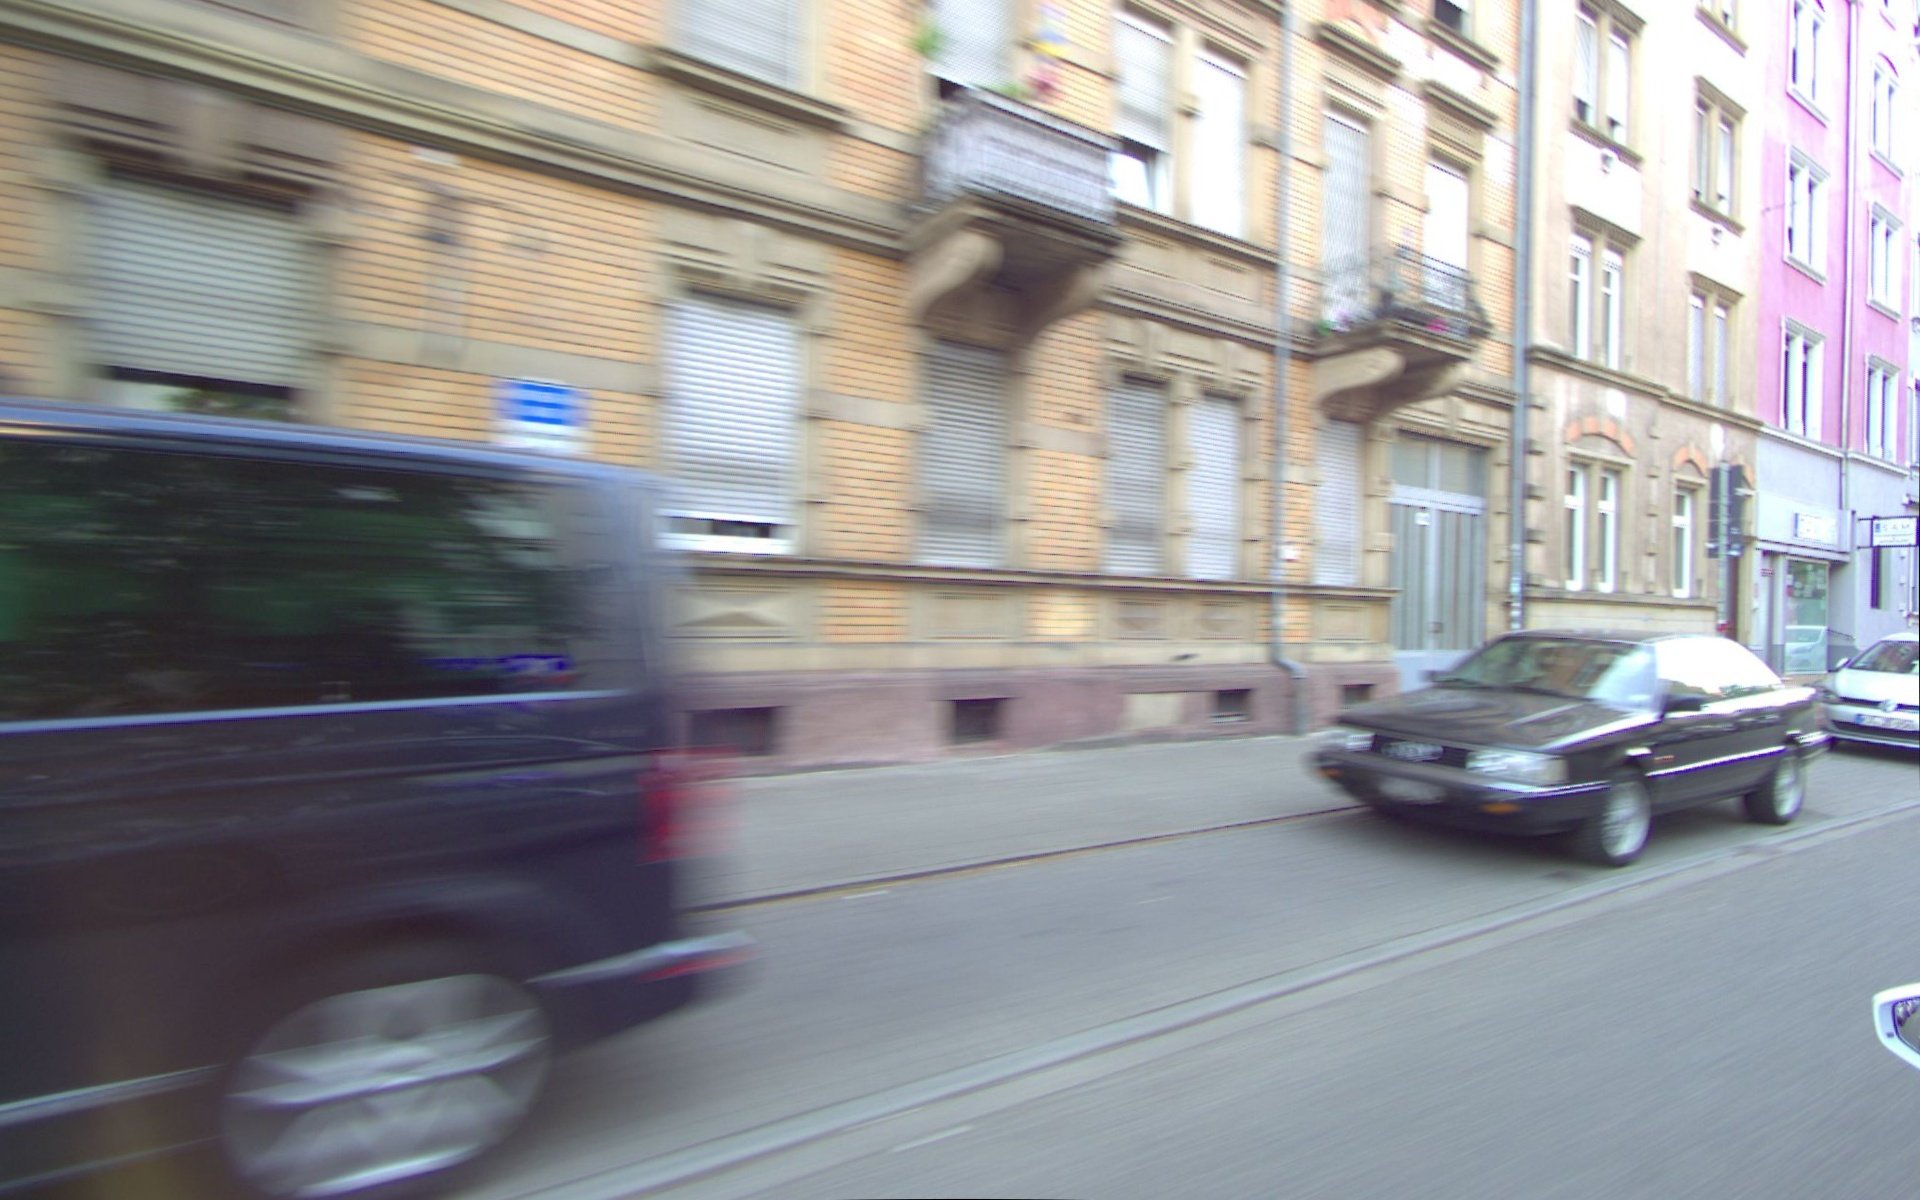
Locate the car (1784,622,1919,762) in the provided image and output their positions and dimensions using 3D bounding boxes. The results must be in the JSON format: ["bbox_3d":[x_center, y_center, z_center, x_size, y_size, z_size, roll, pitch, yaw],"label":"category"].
[{"bbox_3d":[12.293,1.095,12.597,4.162,1.477,1.823,1,2,-34],"label":"car"}]

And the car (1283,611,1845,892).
[{"bbox_3d":[4.654,0.896,7.460,4.729,1.437,1.726,2,1,-34],"label":"car"}]

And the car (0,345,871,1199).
[{"bbox_3d":[-2.849,0.435,2.449,4.904,1.949,1.979,1,2,-36],"label":"car"}]
